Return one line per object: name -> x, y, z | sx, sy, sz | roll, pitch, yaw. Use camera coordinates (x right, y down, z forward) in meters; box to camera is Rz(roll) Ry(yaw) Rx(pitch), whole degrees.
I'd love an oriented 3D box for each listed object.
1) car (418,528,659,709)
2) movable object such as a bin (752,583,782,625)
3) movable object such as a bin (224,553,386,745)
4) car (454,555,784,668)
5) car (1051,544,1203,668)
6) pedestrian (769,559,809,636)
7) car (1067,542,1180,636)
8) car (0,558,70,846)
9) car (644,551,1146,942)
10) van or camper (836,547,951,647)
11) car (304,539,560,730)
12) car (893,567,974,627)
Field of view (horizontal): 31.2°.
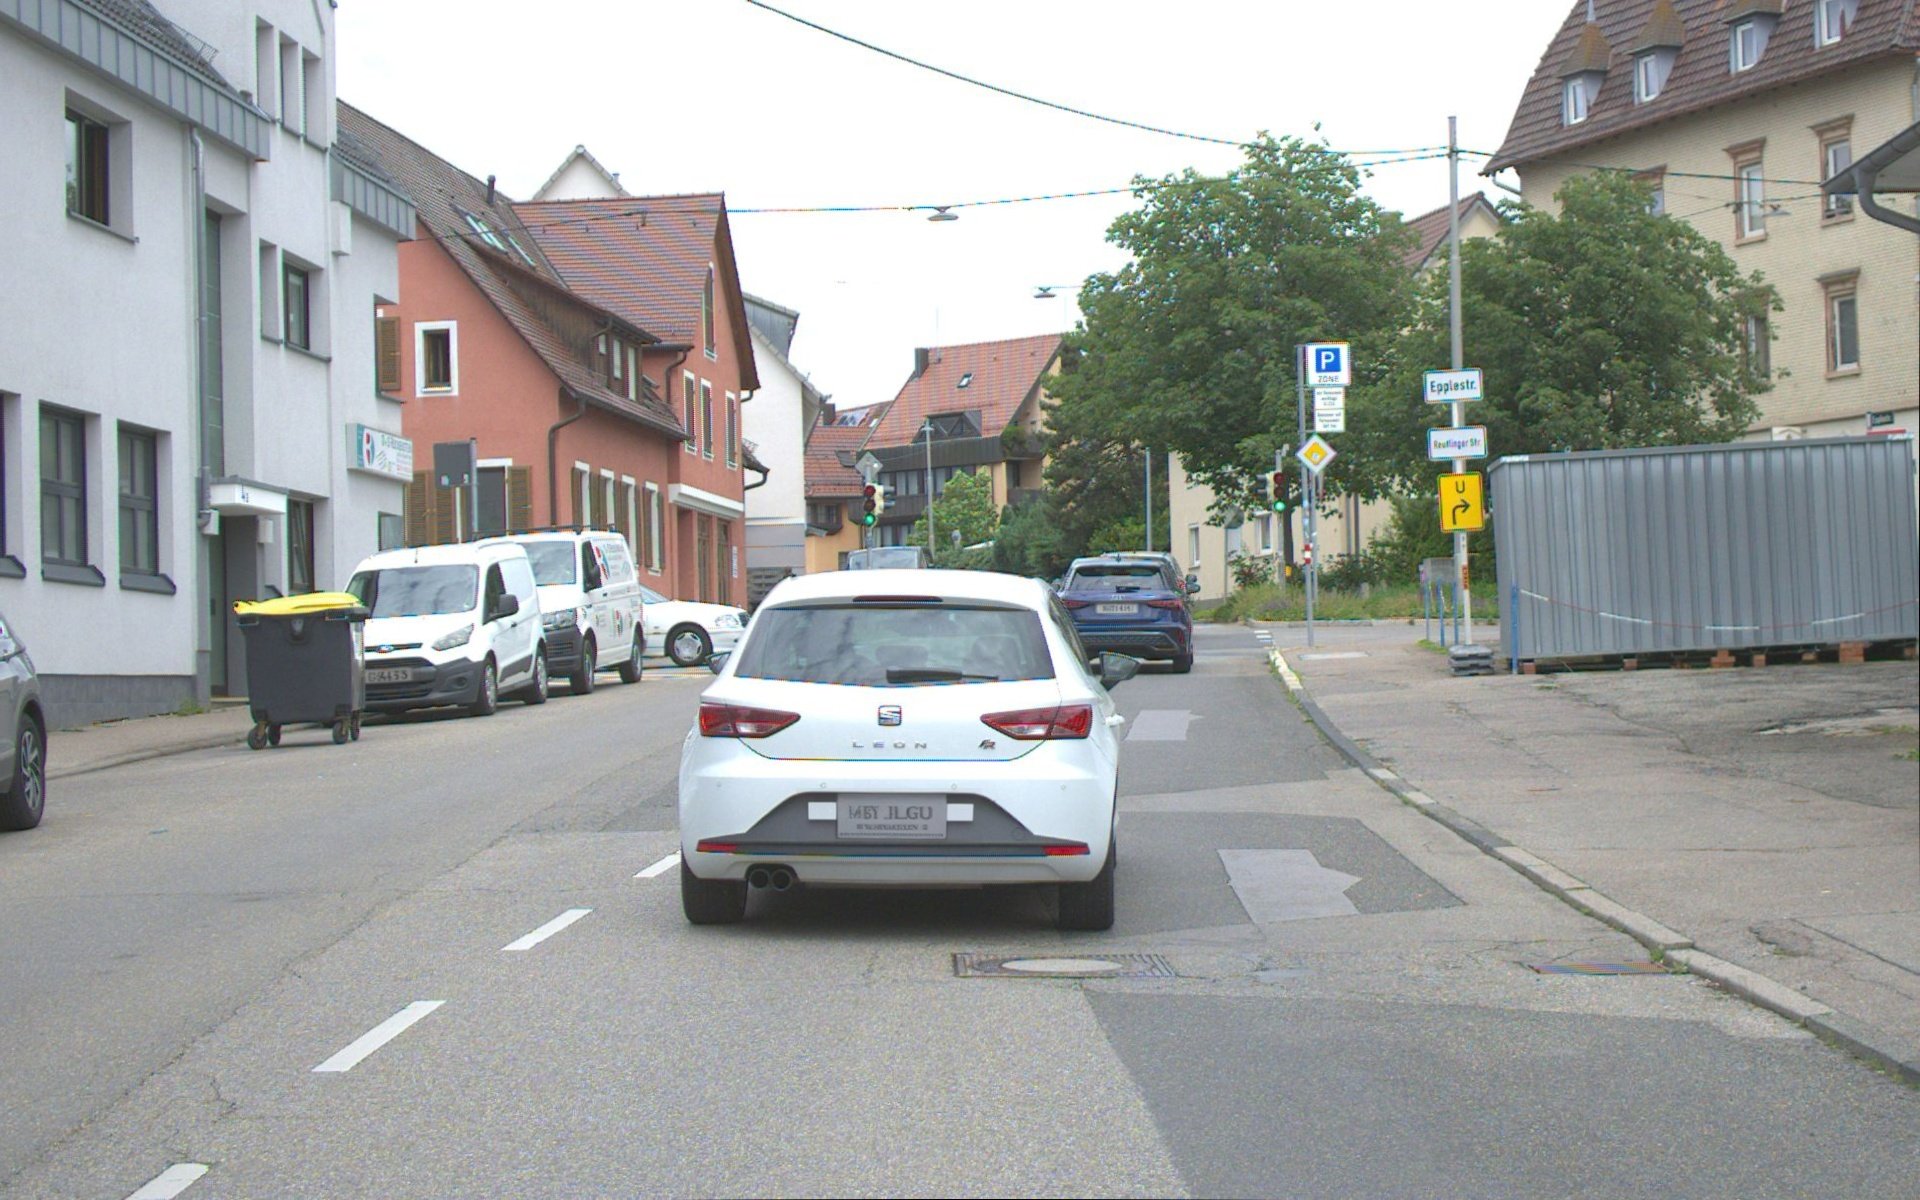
car -> -5.096, 0.172, 42.216 | 1.812, 1.999, 4.762 | -3, 1, 6
movable object such as a bin -> -4.776, 0.093, 85.087 | 0.665, 1.015, 0.795 | -2, 0, 1
movable object such as a bin -> -5.830, 0.414, 30.716 | 1.140, 1.627, 1.563 | -3, 1, -2
car -> -5.103, 0.161, 51.813 | 4.555, 1.440, 1.999 | -3, 0, 8
car -> 2.031, 0.094, 42.761 | 1.758, 1.447, 4.000 | -1, -1, 1
pedestrian -> -3.972, -0.063, 79.859 | 0.800, 1.778, 0.892 | -1, 0, 4
car -> 2.701, -0.155, 56.611 | 1.758, 1.447, 3.999 | -1, -1, 3
car -> -6.358, 0.624, 18.997 | 1.837, 1.627, 4.409 | -3, 1, -2
car -> -0.142, 0.541, 14.919 | 1.759, 1.447, 3.999 | -1, 0, 5
van or camper -> -1.444, -0.029, 76.498 | 2.074, 1.999, 4.856 | -3, -2, 4
car -> -5.560, 0.314, 36.693 | 1.733, 1.825, 4.297 | -3, 1, 4
car -> -0.767, -0.064, 96.433 | 1.997, 1.627, 4.858 | 0, -1, -4
